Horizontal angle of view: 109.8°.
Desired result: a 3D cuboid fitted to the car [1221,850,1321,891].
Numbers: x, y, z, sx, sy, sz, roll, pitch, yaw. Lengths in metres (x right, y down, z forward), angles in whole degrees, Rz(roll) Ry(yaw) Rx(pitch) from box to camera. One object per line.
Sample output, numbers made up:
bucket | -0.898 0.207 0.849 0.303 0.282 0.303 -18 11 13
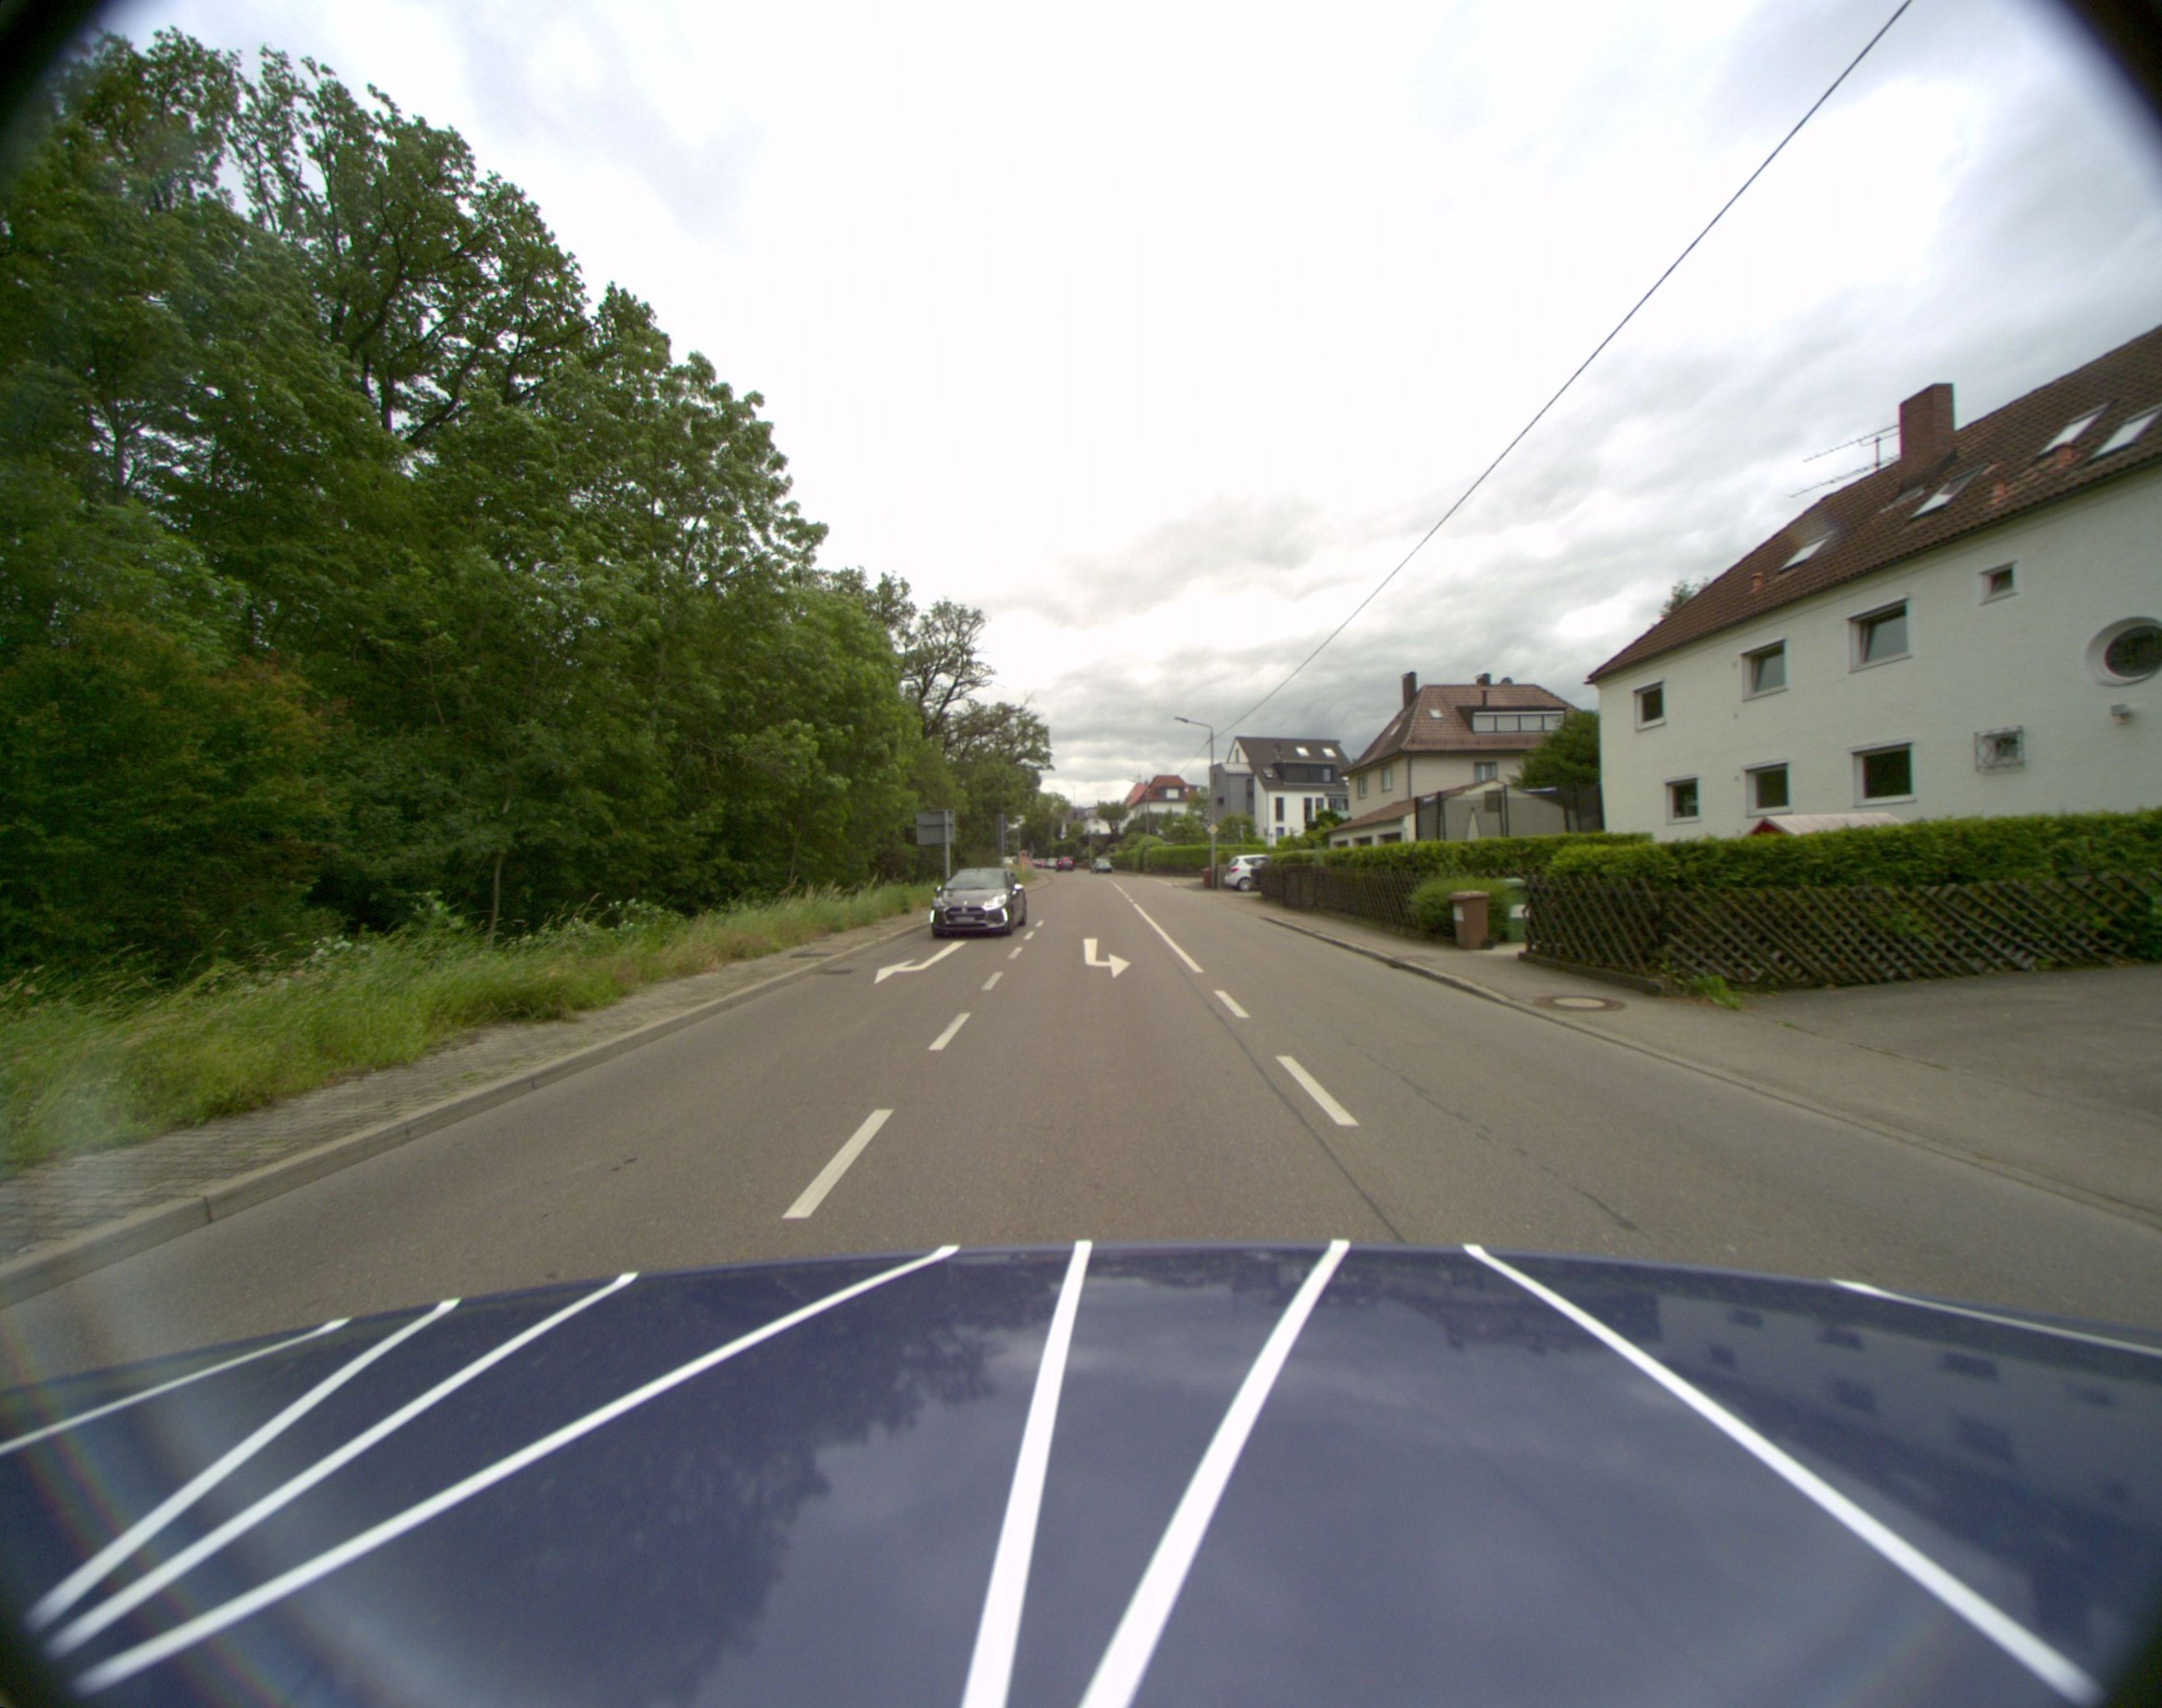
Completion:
car | 8.470 0.705 34.039 3.997 1.584 1.718 -3 0 1

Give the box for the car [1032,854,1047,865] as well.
car | -6.503 0.851 118.788 2.000 1.749 3.997 -1 0 -7

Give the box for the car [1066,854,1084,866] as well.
car | -0.862 0.827 103.464 1.876 1.569 3.997 -1 0 -7

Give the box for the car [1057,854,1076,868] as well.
car | -1.766 0.849 93.328 1.819 1.590 3.953 -1 0 -8

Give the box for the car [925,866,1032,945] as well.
car | -2.190 1.073 17.185 1.730 1.449 3.855 -2 0 2

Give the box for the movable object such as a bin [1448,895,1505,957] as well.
movable object such as a bin | 6.222 1.129 11.974 0.634 0.907 0.561 -2 0 11

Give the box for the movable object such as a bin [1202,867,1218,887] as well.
movable object such as a bin | 6.300 1.106 37.163 0.689 0.948 0.572 -1 1 15

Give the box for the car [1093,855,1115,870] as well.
car | 2.370 0.912 79.592 1.840 1.514 3.998 -1 0 -5

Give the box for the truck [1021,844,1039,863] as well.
truck | -10.169 -0.138 151.297 3.008 3.618 7.083 -1 0 -8

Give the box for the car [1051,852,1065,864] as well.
car | -3.567 0.600 116.959 1.832 1.665 3.997 -1 1 -4

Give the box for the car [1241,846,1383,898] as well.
car | 8.623 0.648 28.637 4.682 1.660 1.882 -3 0 -1
